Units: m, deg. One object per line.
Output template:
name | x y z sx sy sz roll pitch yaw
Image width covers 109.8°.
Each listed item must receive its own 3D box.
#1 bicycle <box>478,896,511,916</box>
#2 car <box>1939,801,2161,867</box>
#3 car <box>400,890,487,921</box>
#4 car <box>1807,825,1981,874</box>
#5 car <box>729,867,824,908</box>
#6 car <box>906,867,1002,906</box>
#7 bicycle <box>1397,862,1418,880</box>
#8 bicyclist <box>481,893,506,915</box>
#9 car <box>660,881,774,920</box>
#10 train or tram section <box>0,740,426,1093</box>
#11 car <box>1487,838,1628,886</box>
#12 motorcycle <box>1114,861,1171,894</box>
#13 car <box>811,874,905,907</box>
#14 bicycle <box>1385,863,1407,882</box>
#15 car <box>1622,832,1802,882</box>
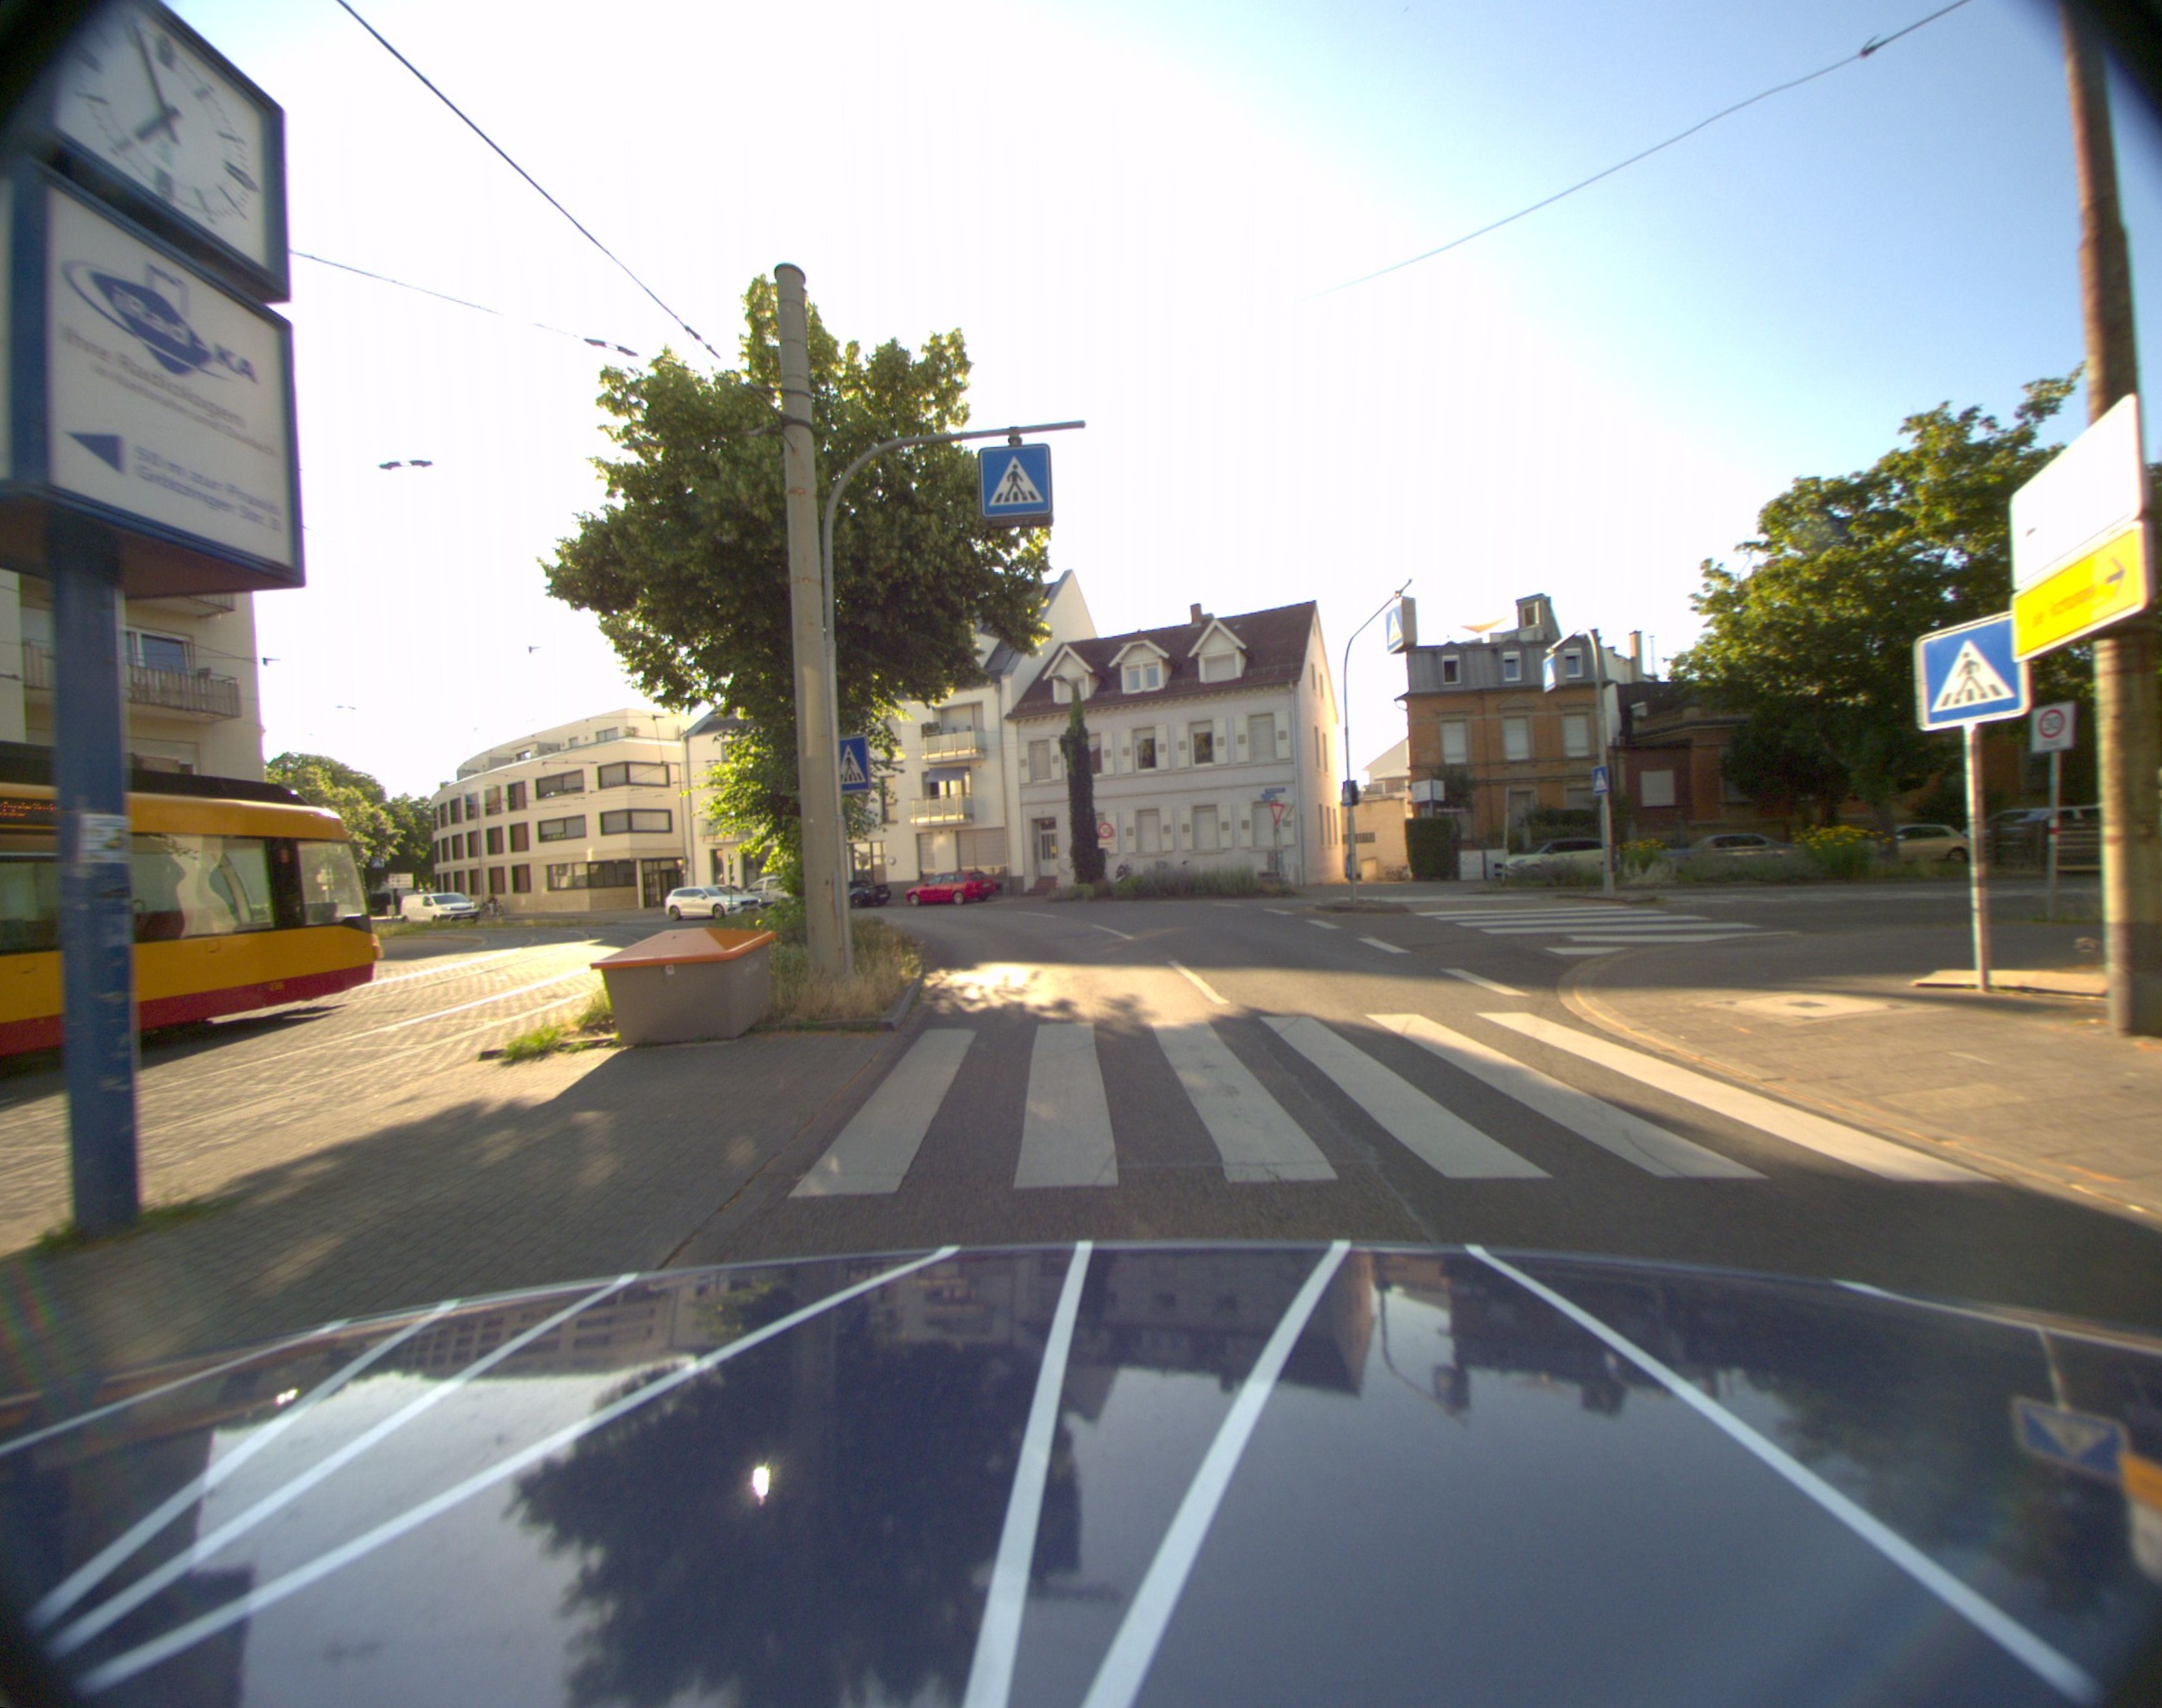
bicycle | -42.567 3.779 55.099 2.969 1.385 0.932 -3 0 34
car | 33.698 -0.662 26.497 5.094 1.933 1.930 -3 0 4
car | -36.214 2.895 43.144 4.921 1.574 2.004 -2 0 28
car | 28.043 -0.158 26.321 4.012 1.445 1.702 -3 0 4
car | -15.710 1.741 39.245 4.263 1.945 2.003 -2 0 20
car | -5.777 1.470 34.365 4.196 1.453 1.610 -5 -1 32
bicycle | 21.568 1.131 50.176 0.703 1.076 2.344 -3 0 37
bicyclist | -42.698 3.644 55.238 0.951 1.510 1.154 -3 0 32
car | -15.640 2.007 32.637 4.438 1.453 2.003 -3 -1 25
train or tram section | -11.865 0.622 5.399 2.965 3.401 13.463 -2 -1 -1
car | 16.932 0.278 27.140 3.879 1.445 1.702 -3 0 4
motorcycle | 2.454 0.956 30.402 2.104 1.220 0.625 -3 0 27
car | -10.825 1.797 36.890 4.116 1.339 1.939 -4 0 28
bicycle | 19.826 1.172 47.793 0.703 1.076 2.344 -3 0 37
car | 21.911 0.105 26.525 4.690 1.445 1.726 -3 0 4
